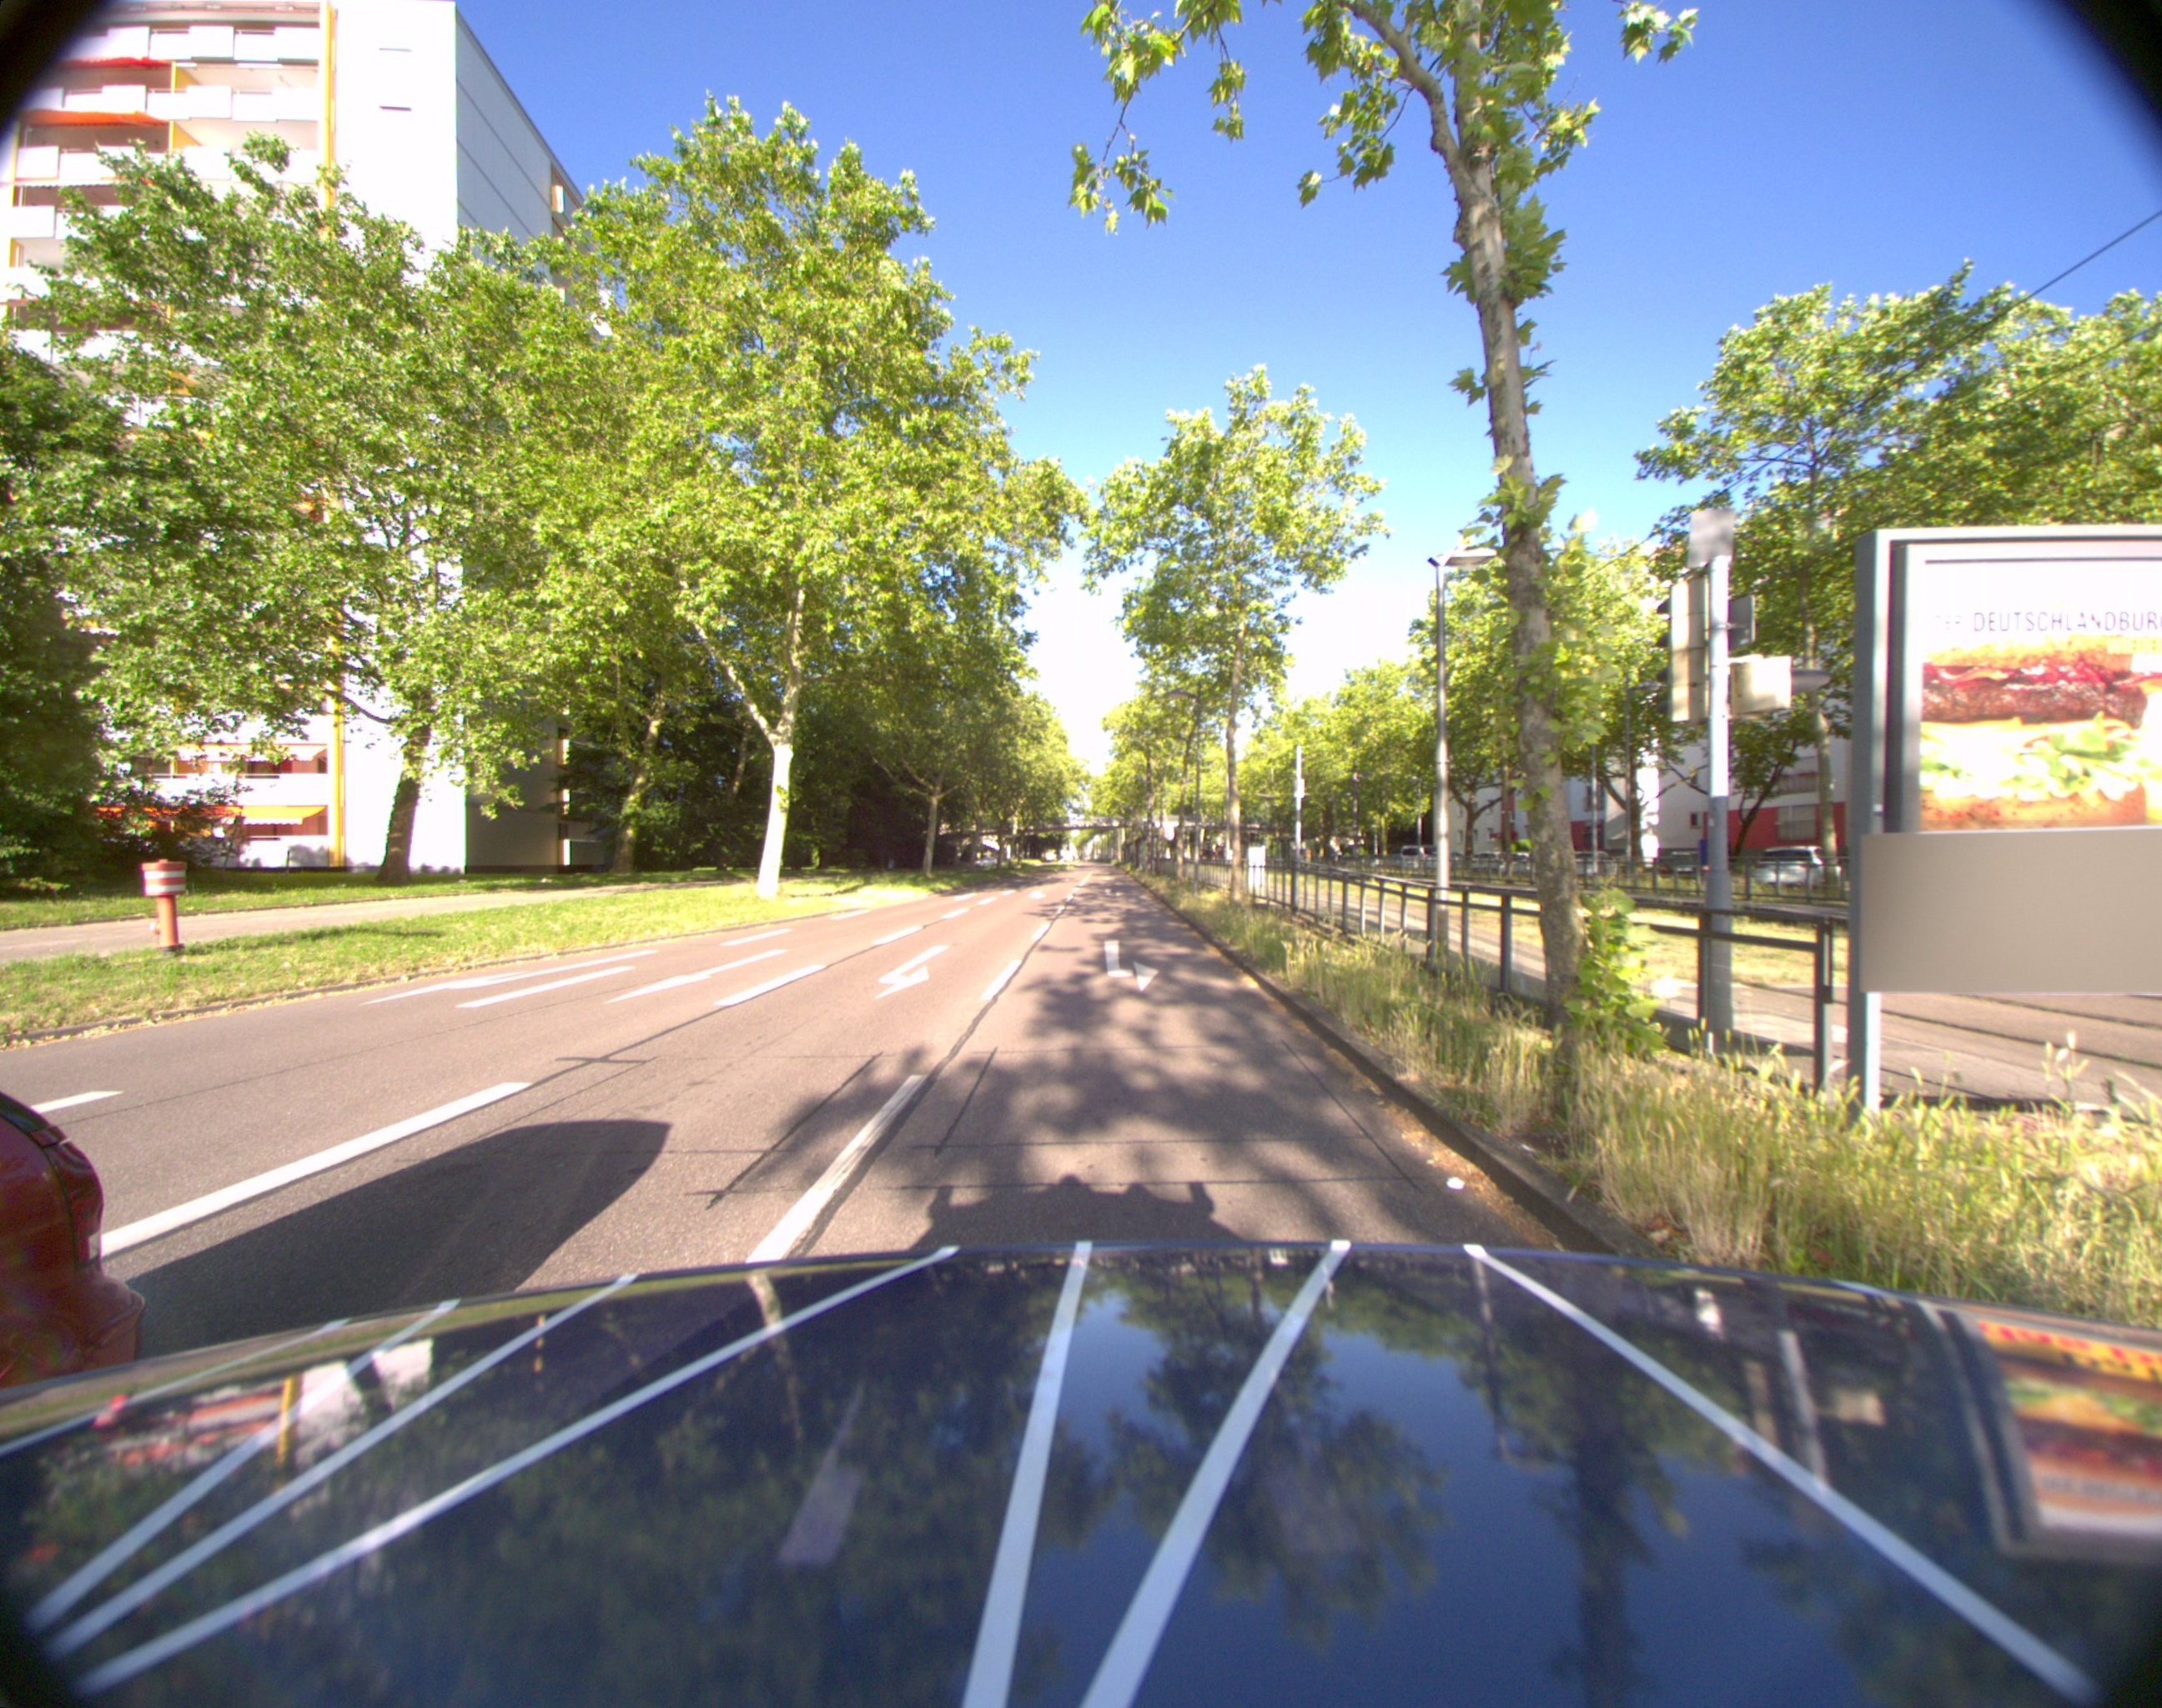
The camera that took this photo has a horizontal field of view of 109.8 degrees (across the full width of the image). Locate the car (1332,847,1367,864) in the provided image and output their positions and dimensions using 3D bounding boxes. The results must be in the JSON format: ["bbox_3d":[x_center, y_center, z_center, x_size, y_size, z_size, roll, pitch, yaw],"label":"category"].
[{"bbox_3d":[25.946,0.134,73.378,3.835,1.561,1.597,-1,1,-43],"label":"car"}]

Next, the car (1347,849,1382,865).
[{"bbox_3d":[25.666,0.266,68.850,3.494,1.312,1.476,-1,1,-41],"label":"car"}]

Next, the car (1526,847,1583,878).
[{"bbox_3d":[25.785,0.424,41.341,3.402,1.499,1.461,-3,1,-37],"label":"car"}]

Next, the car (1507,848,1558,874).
[{"bbox_3d":[26.412,0.379,44.423,3.493,1.321,1.476,-3,0,-41],"label":"car"}]

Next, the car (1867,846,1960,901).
[{"bbox_3d":[25.241,0.542,23.004,3.770,1.420,1.555,-3,1,-37],"label":"car"}]

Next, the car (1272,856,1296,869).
[{"bbox_3d":[24.347,1.031,91.350,1.769,1.503,4.102,-1,0,1],"label":"car"}]

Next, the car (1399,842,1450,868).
[{"bbox_3d":[25.714,0.065,56.857,4.056,1.802,1.864,-1,1,-40],"label":"car"}]

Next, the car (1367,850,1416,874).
[{"bbox_3d":[20.901,0.495,51.278,1.810,1.514,4.331,-1,0,5],"label":"car"}]

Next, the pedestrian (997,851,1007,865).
[{"bbox_3d":[-11.443,0.547,110.479,0.917,2.002,0.964,-2,1,37],"label":"pedestrian"}]

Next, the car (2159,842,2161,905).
[{"bbox_3d":[24.640,0.504,15.969,4.007,1.479,1.689,-3,1,-44],"label":"car"}]

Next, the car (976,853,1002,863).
[{"bbox_3d":[-14.709,0.612,121.456,3.999,1.465,1.797,-3,1,-8],"label":"car"}]

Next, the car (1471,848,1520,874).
[{"bbox_3d":[25.887,0.418,47.463,3.493,1.417,1.558,-3,-1,-42],"label":"car"}]

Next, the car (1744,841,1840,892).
[{"bbox_3d":[25.227,0.405,26.933,4.007,1.586,1.810,-3,1,-37],"label":"car"}]

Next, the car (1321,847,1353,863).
[{"bbox_3d":[26.782,0.106,79.490,3.742,1.517,1.597,-1,1,-43],"label":"car"}]

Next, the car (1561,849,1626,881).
[{"bbox_3d":[25.523,0.520,37.771,3.890,1.406,1.486,-3,1,-37],"label":"car"}]

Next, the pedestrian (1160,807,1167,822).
[{"bbox_3d":[11.024,-5.289,101.649,0.738,1.873,0.511,-3,1,0],"label":"pedestrian"}]

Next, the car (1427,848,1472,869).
[{"bbox_3d":[26.176,0.306,53.872,3.494,1.395,1.623,-1,1,-41],"label":"car"}]

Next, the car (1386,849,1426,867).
[{"bbox_3d":[25.813,0.288,60.298,3.494,1.336,1.476,-1,1,-41],"label":"car"}]
